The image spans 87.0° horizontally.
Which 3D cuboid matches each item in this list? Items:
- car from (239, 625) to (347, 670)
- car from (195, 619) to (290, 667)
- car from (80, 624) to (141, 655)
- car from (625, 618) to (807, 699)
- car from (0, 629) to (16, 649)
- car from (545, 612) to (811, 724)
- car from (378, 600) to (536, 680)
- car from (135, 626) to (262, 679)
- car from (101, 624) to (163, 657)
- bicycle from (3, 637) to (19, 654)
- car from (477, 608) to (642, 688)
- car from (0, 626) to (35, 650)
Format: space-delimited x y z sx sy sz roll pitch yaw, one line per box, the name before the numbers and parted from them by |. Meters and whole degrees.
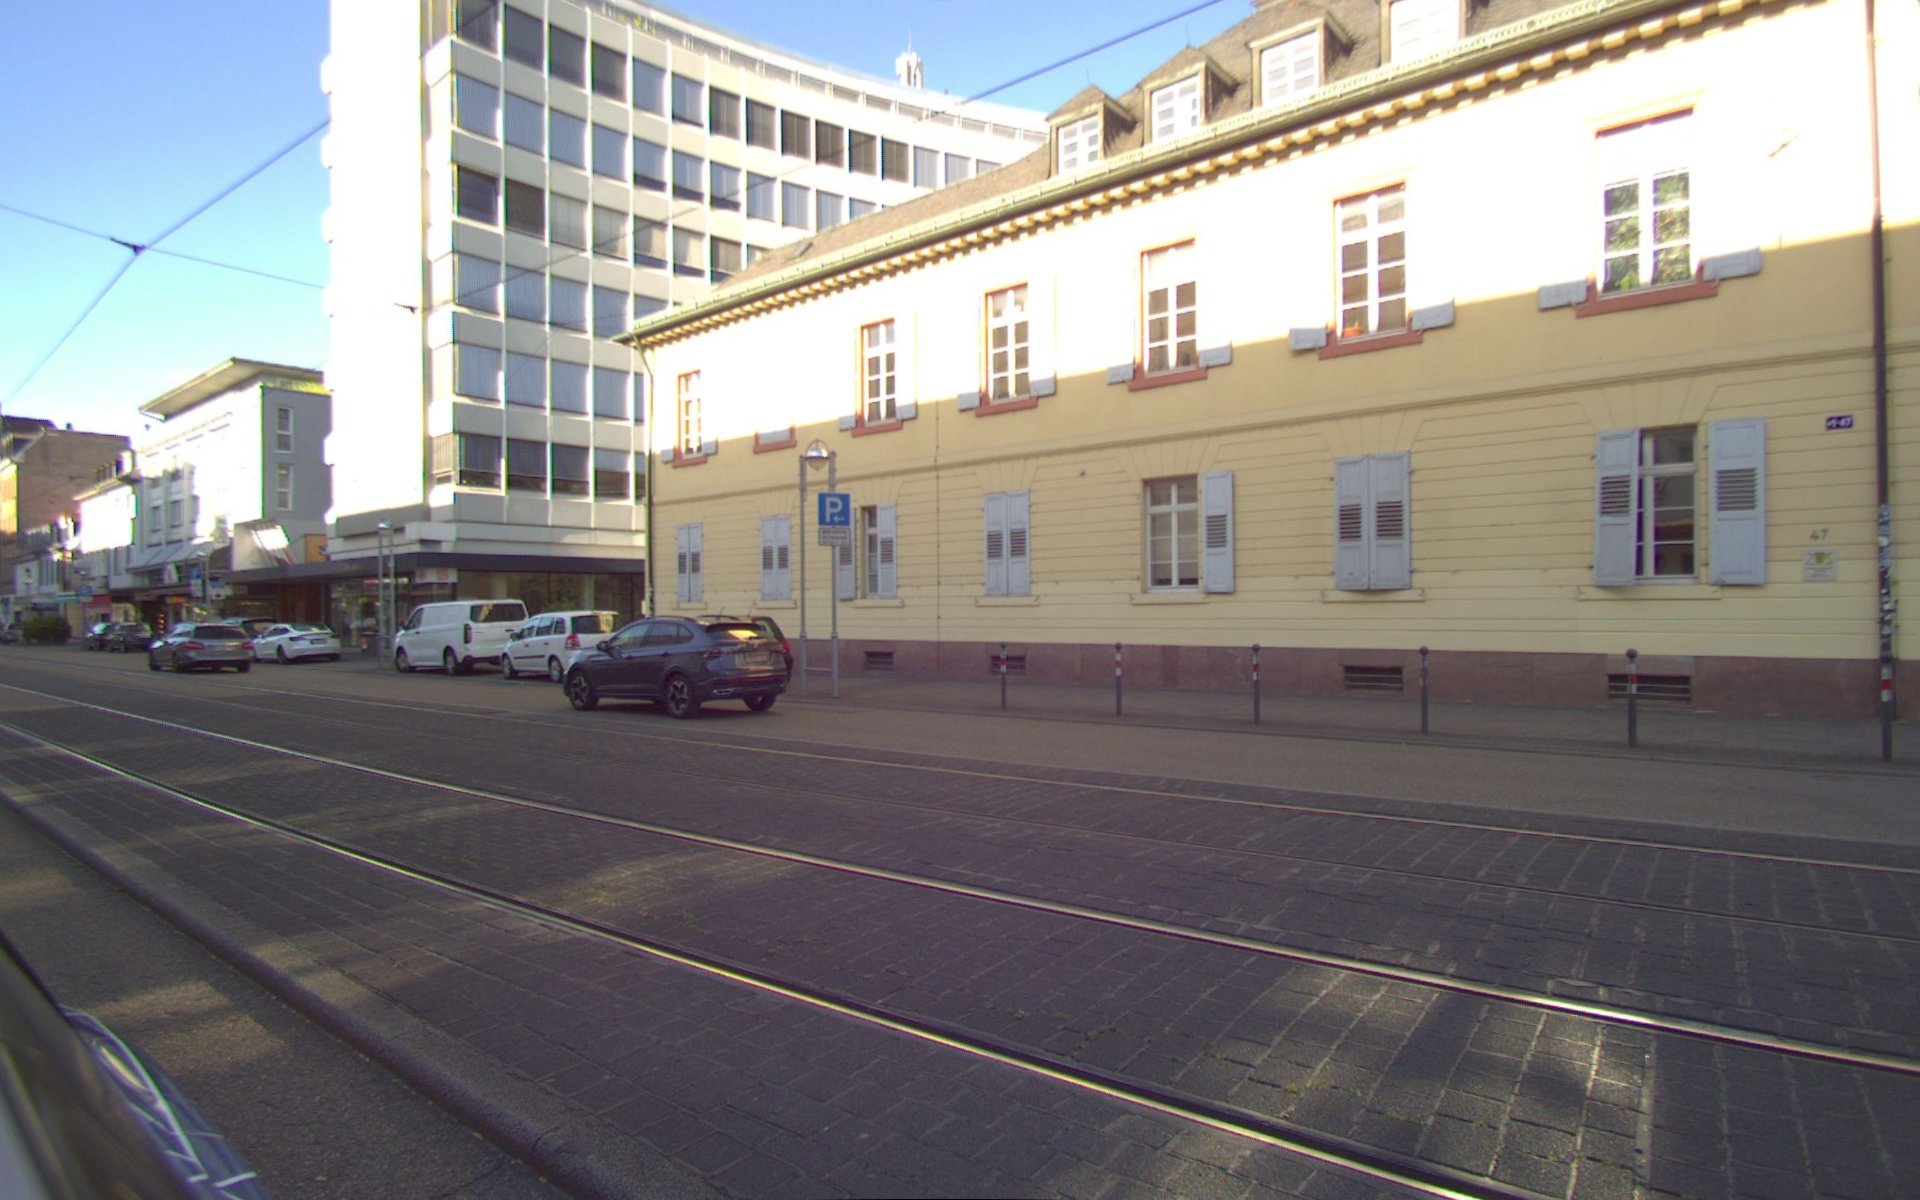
car | -24.207 1.661 36.681 4.650 1.431 1.870 -1 1 38
car | -28.827 1.678 40.620 4.651 1.691 1.959 -1 1 40
car | -46.547 2.141 55.397 4.848 1.535 1.720 -1 1 40
car | -4.947 1.107 20.291 3.716 1.411 1.598 -1 1 39
car | -75.896 3.050 79.641 4.758 1.525 1.799 -1 0 40
car | -4.519 0.992 15.962 4.270 1.523 1.749 -1 -1 35
car | -14.031 1.052 28.099 5.091 1.990 1.974 -1 1 39
car | -23.145 1.554 30.697 4.923 1.507 1.862 -1 -3 38
car | -42.009 2.052 51.331 3.583 1.535 1.586 -1 1 37
bicycle | -63.959 3.074 68.201 1.714 1.098 0.513 -1 1 40
car | -9.751 1.090 24.463 4.647 1.698 1.788 -1 1 42
car | -68.763 2.758 73.670 2.888 1.616 1.680 -1 1 39
